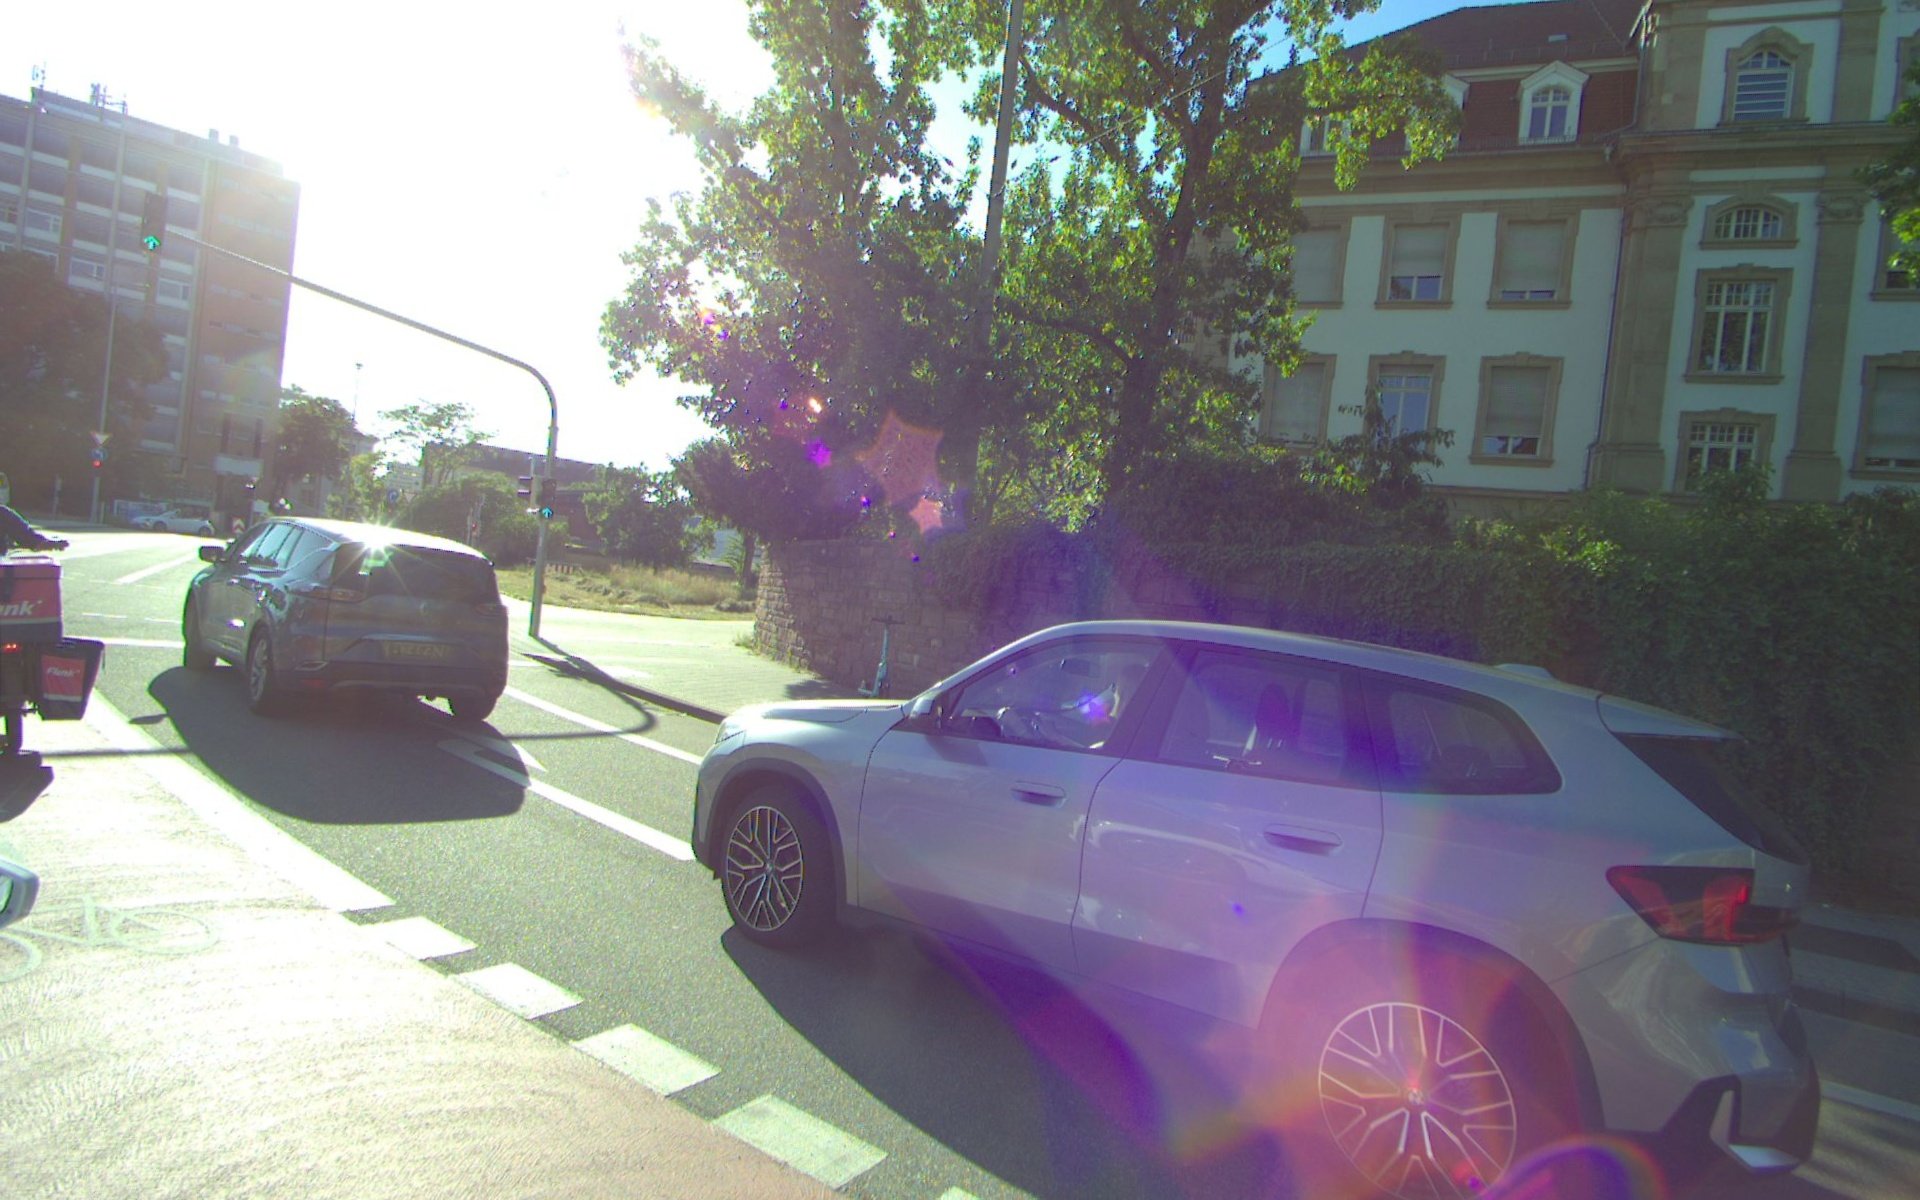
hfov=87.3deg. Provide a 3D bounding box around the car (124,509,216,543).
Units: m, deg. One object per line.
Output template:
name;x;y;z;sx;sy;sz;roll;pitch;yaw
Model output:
car;-48.145;-4.509;61.402;1.772;1.549;3.997;6;0;21

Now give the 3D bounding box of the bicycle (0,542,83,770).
bicycle;-6.053;0.250;6.228;2.340;1.185;0.553;6;-2;42

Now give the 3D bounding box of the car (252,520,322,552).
car;-48.568;-4.605;72.674;3.959;1.592;1.722;9;-2;-31

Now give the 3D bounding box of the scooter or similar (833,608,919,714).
scooter or similar;-1.181;0.817;13.899;0.569;1.285;1.414;6;0;-27

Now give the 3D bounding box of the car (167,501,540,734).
car;-5.961;0.072;9.643;4.311;1.709;1.829;6;-2;43

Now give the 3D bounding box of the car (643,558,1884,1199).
car;0.799;0.880;4.260;4.263;1.612;1.788;6;-2;37

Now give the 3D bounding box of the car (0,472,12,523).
car;-38.505;-4.090;38.982;1.897;1.970;4.660;4;1;-36

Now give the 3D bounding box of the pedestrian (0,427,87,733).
pedestrian;-6.375;-0.163;6.497;0.943;1.890;0.806;6;-1;40

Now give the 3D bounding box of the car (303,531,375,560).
car;-42.775;-3.736;69.393;3.952;1.549;1.792;6;1;-28
